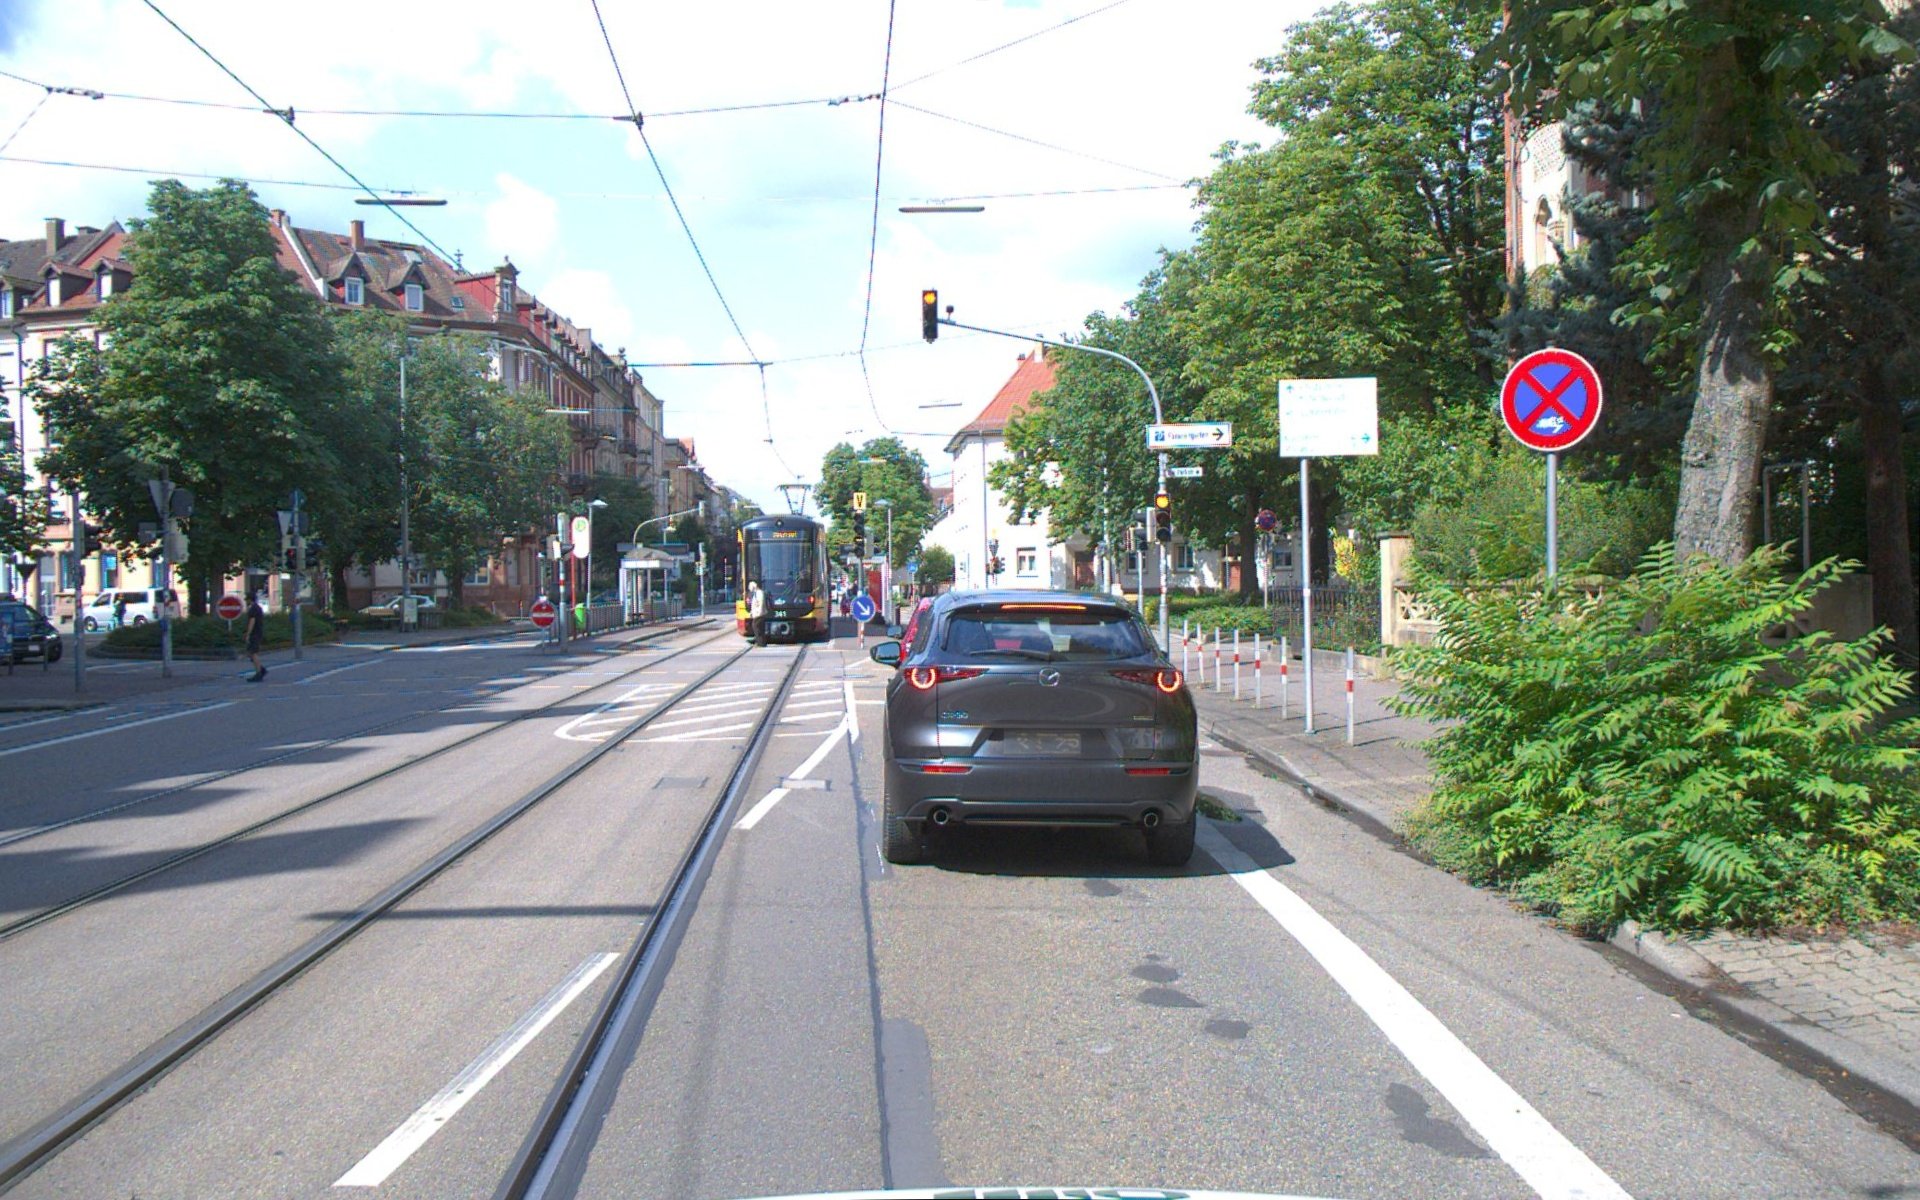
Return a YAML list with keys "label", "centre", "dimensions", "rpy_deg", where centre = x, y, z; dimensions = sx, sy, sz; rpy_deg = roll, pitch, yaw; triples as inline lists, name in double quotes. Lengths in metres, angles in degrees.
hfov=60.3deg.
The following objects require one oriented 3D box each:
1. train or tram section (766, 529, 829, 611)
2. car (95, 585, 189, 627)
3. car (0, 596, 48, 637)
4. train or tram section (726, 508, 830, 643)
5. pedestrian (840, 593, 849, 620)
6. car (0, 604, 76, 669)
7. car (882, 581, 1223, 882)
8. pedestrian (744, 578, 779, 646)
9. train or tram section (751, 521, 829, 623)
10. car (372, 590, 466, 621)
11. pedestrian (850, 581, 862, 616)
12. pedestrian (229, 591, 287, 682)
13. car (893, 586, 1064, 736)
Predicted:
- label: "train or tram section"
  centre: [-7.734, -1.509, 79.969]
  dimensions: [2.699, 3.551, 14.395]
  rpy_deg: [-1, 1, -5]
- label: "car"
  centre: [-39.510, 0.288, 79.883]
  dimensions: [3.906, 1.937, 1.999]
  rpy_deg: [-1, 0, 24]
- label: "car"
  centre: [-39.771, 0.687, 67.518]
  dimensions: [3.905, 1.624, 2.000]
  rpy_deg: [-1, 0, -1]
- label: "train or tram section"
  centre: [-5.430, -0.818, 51.330]
  dimensions: [2.699, 3.551, 14.395]
  rpy_deg: [-1, 1, -5]
- label: "pedestrian"
  centre: [-4.749, 0.281, 68.064]
  dimensions: [0.372, 1.089, 0.474]
  rpy_deg: [-1, 0, -4]
- label: "car"
  centre: [-24.454, 0.906, 41.886]
  dimensions: [3.978, 1.545, 1.759]
  rpy_deg: [-1, 0, 29]
- label: "car"
  centre: [0.442, 0.664, 10.541]
  dimensions: [1.742, 1.526, 3.999]
  rpy_deg: [1, 0, -1]
- label: "pedestrian"
  centre: [-5.147, 0.313, 42.943]
  dimensions: [0.701, 1.735, 0.824]
  rpy_deg: [-1, 0, 7]
- label: "train or tram section"
  centre: [-6.584, -1.165, 65.635]
  dimensions: [2.699, 3.551, 14.395]
  rpy_deg: [-1, 1, -5]
- label: "car"
  centre: [-25.837, 0.267, 79.094]
  dimensions: [3.962, 1.384, 1.654]
  rpy_deg: [-1, 0, -40]
- label: "pedestrian"
  centre: [-4.278, -0.062, 68.187]
  dimensions: [0.441, 1.459, 0.474]
  rpy_deg: [-1, 0, -6]
- label: "pedestrian"
  centre: [-13.476, 0.694, 31.752]
  dimensions: [0.735, 1.713, 0.701]
  rpy_deg: [-1, 0, 8]
- label: "car"
  centre: [0.157, 0.614, 19.143]
  dimensions: [1.742, 1.526, 3.999]
  rpy_deg: [1, 0, -1]
